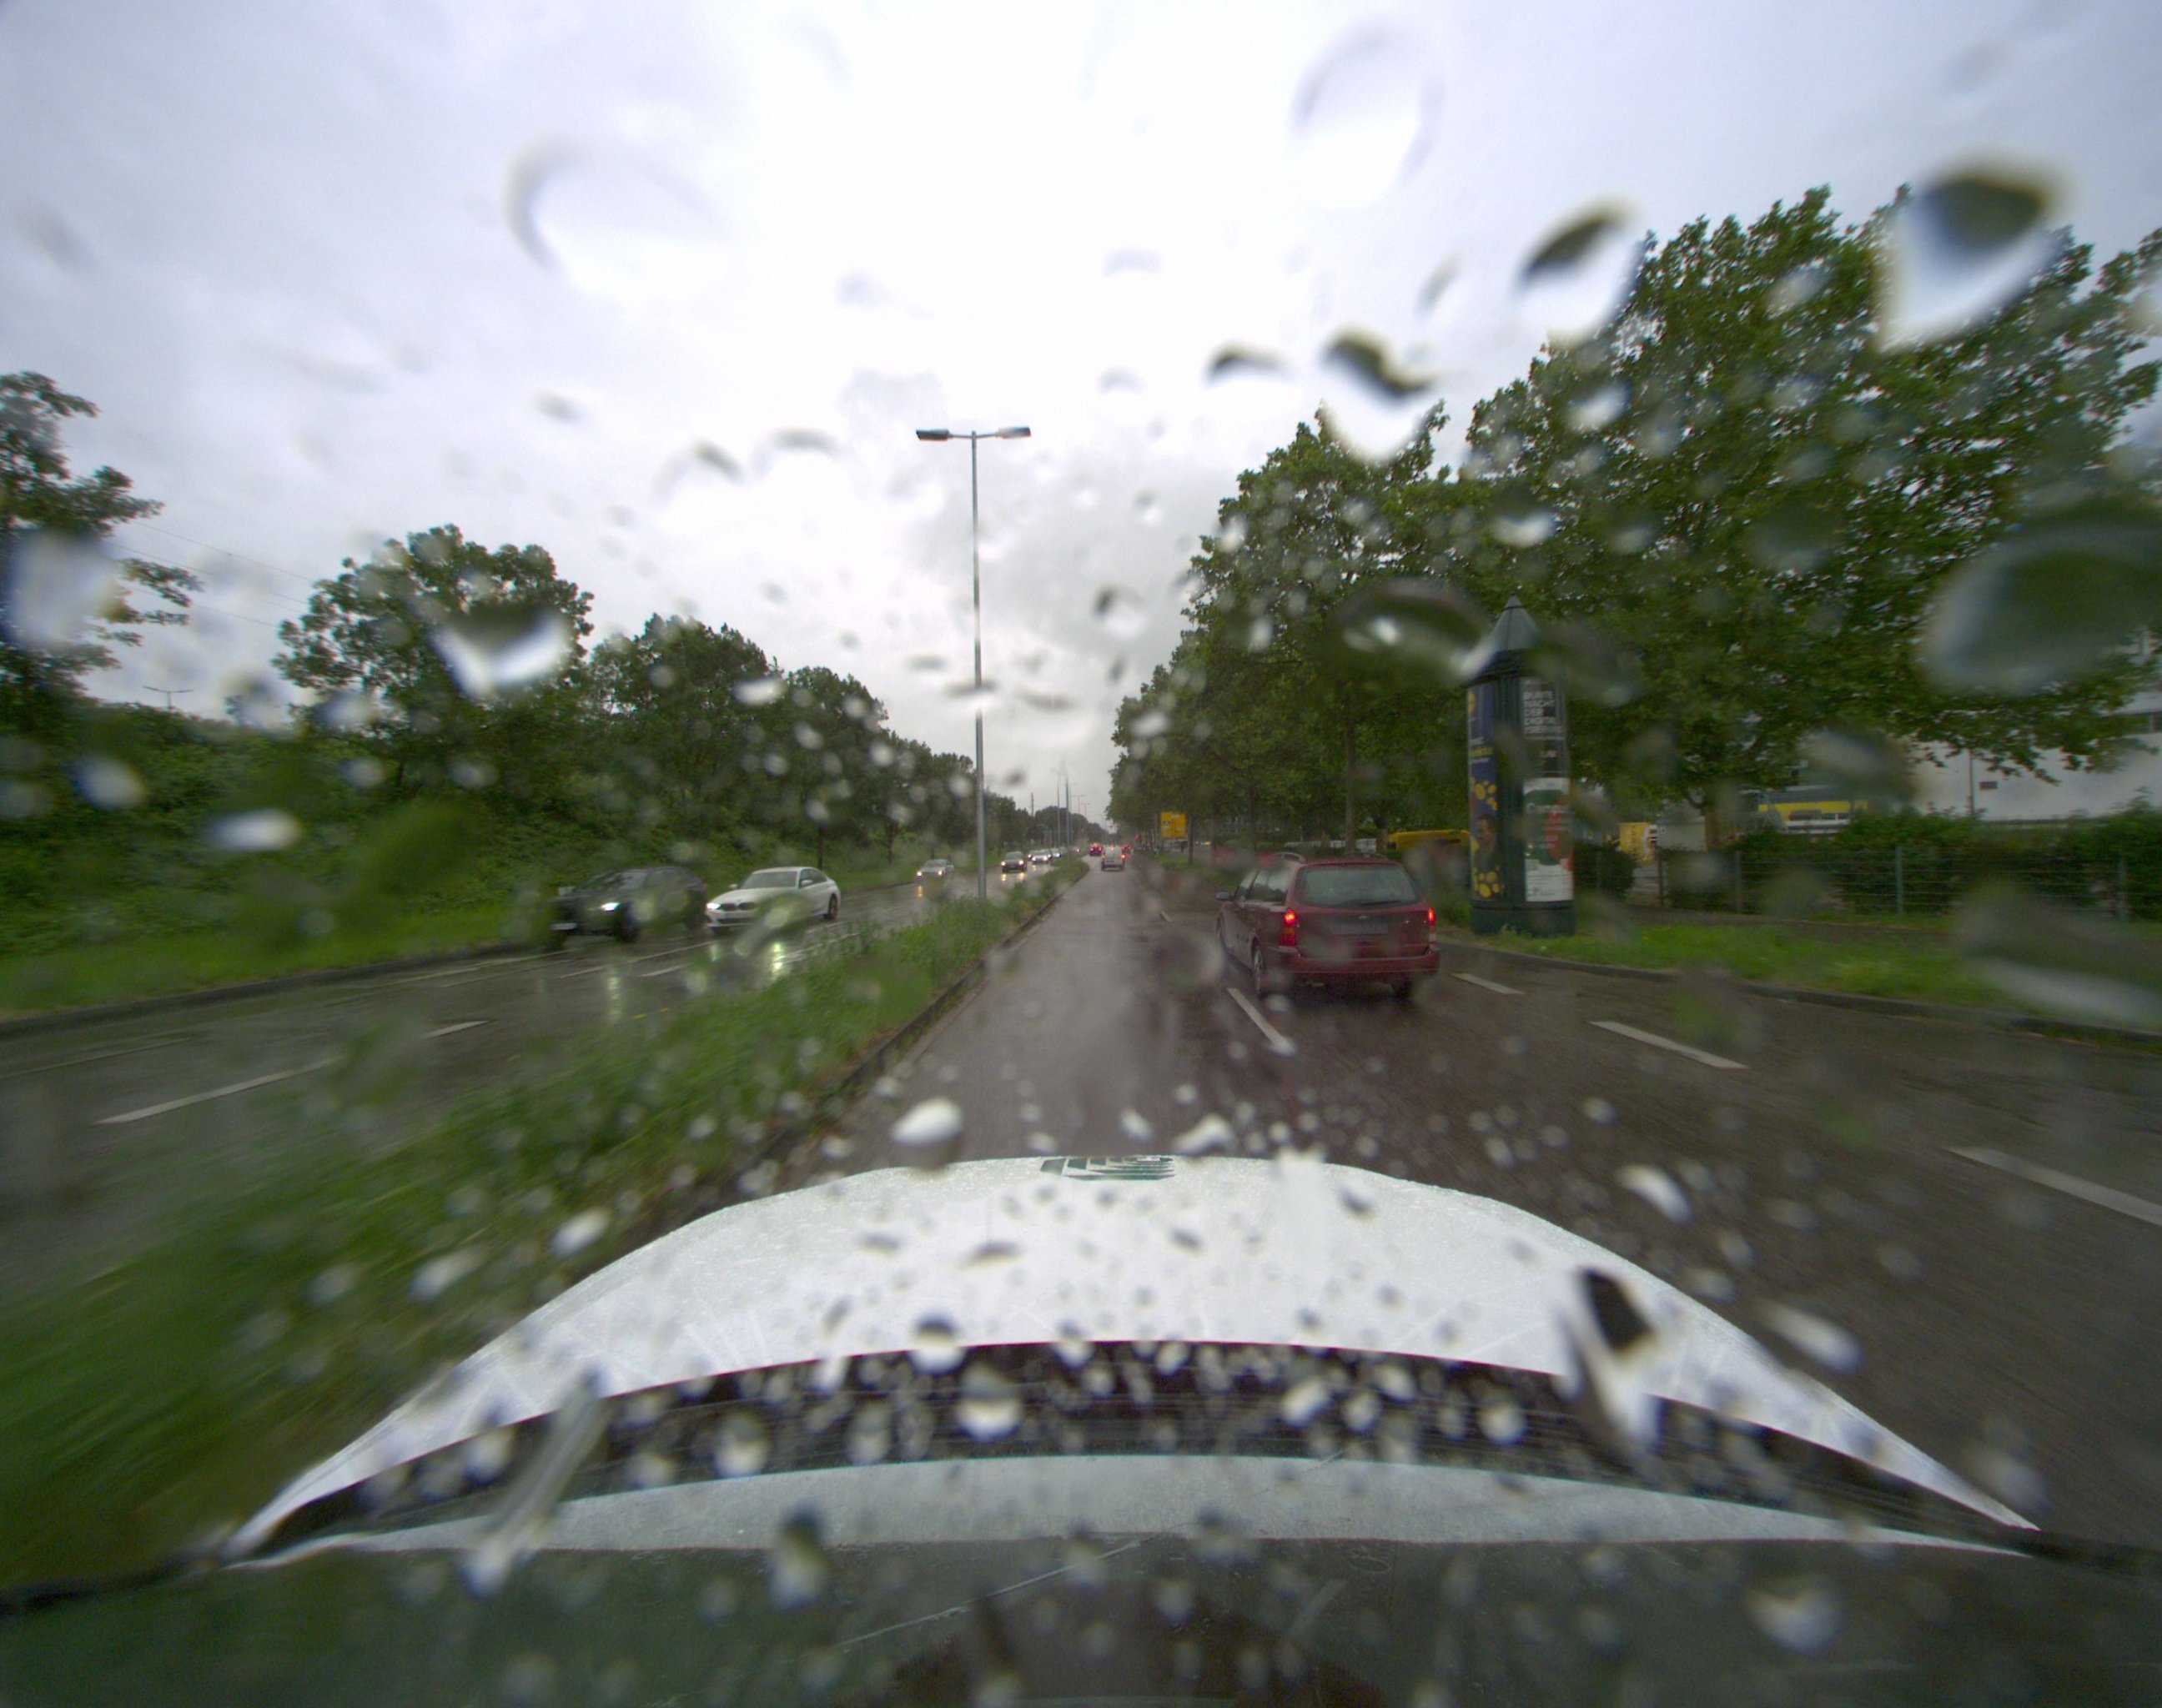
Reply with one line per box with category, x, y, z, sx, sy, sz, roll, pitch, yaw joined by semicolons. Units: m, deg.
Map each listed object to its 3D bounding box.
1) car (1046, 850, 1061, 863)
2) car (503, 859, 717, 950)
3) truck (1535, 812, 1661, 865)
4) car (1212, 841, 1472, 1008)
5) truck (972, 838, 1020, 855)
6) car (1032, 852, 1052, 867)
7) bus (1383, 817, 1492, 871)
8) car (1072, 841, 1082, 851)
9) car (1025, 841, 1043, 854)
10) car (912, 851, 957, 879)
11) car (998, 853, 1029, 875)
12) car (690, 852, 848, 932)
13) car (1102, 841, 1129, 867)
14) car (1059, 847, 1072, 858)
car;-3.861;0.334;113.475;1.904;1.574;4.704;-3;1;-3
car;-10.448;1.022;18.589;2.030;1.660;4.679;-2;0;1
truck;32.314;-0.873;50.728;9.539;3.032;3.049;0;-1;-34
car;2.734;0.639;9.572;1.832;1.536;4.113;0;0;1
truck;-17.888;-1.527;172.607;10.183;3.452;2.630;0;-1;-35
car;-4.323;0.573;91.071;1.891;1.613;4.113;-2;0;1
bus;18.452;-0.504;42.273;4.773;2.647;2.002;-1;0;3
car;-0.865;-1.710;169.013;1.817;1.573;4.366;5;6;2
car;-6.610;-0.903;114.568;1.986;1.687;4.712;-3;1;2
car;-9.247;0.637;51.798;1.892;1.613;4.478;-2;0;1
car;-5.542;0.804;67.507;1.890;1.613;4.115;-4;0;3
car;-7.533;0.832;20.238;1.891;1.613;4.713;-4;0;1
car;2.662;0.015;64.025;1.987;2.014;4.000;-1;-1;1
car;-2.637;-0.285;139.453;1.901;1.574;4.712;-4;1;2
